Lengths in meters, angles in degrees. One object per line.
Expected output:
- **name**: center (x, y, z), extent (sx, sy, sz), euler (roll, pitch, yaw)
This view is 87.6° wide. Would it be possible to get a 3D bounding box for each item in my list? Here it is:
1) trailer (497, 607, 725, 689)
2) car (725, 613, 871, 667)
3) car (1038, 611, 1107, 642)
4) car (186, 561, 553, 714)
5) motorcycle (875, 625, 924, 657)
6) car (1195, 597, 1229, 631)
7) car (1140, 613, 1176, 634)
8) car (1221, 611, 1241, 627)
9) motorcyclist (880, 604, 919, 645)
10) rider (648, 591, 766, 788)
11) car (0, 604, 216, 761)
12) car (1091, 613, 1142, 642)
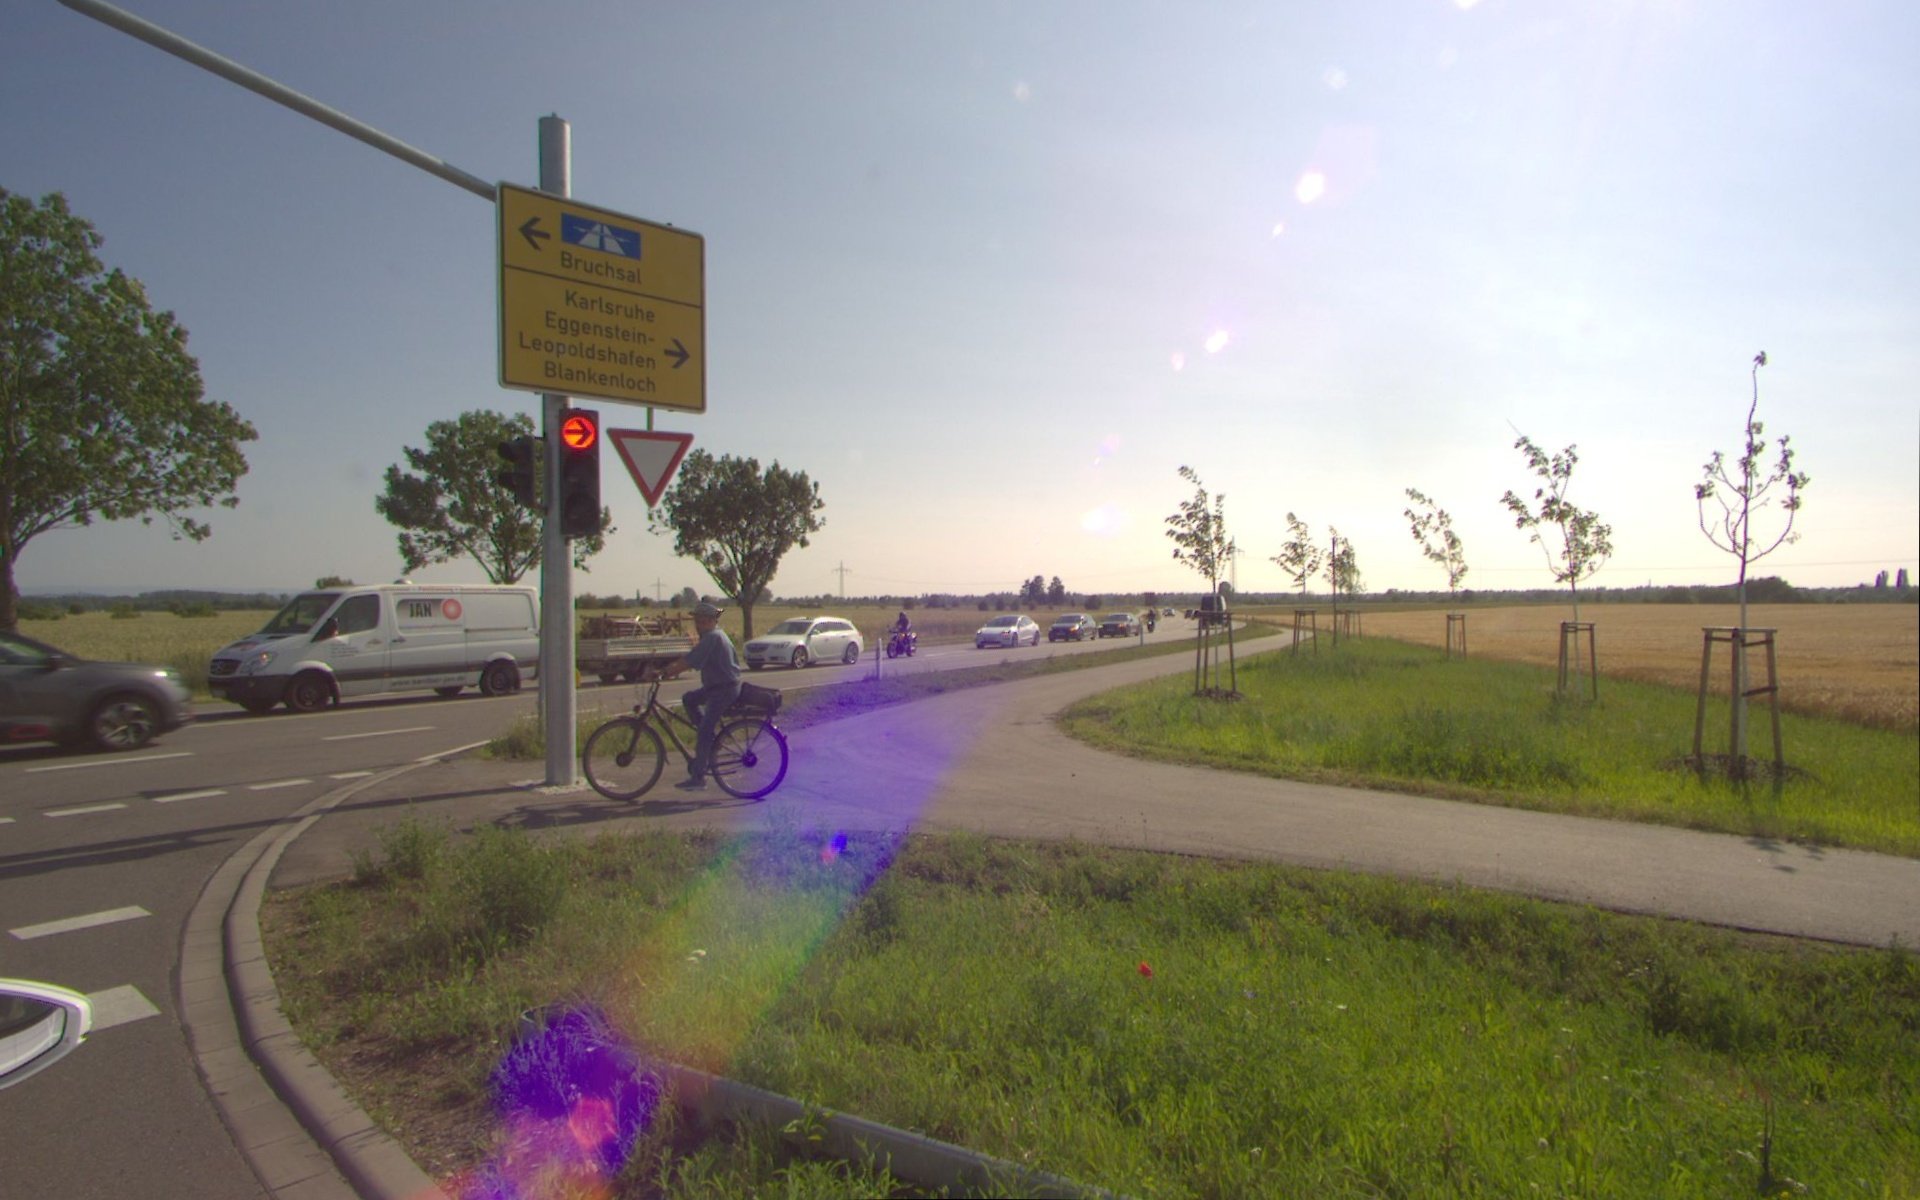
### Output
- **trailer**: center (-8.300, 1.067, 24.409), extent (1.925, 1.776, 5.253), euler (-1, -1, 30)
- **car**: center (-4.897, 1.236, 30.968), extent (1.969, 1.529, 4.868), euler (-2, -3, 27)
- **car**: center (6.191, 1.459, 54.696), extent (1.992, 1.609, 4.864), euler (-2, -3, 30)
- **car**: center (-11.164, 0.668, 19.567), extent (1.971, 2.525, 5.947), euler (-2, -1, 31)
- **motorcycle**: center (-2.195, 1.483, 36.487), extent (0.836, 1.133, 2.140), euler (0, -2, 26)
- **car**: center (20.677, 1.127, 81.893), extent (1.999, 2.656, 5.736), euler (0, 0, 21)
- **car**: center (14.747, 1.773, 74.482), extent (1.678, 1.544, 3.988), euler (-1, -2, 26)
- **car**: center (27.395, 1.880, 101.176), extent (1.698, 1.476, 3.731), euler (0, 1, 19)
- **motorcyclist**: center (-2.206, 0.904, 36.454), extent (1.013, 1.479, 1.067), euler (0, -1, 27)
- **rider**: center (-2.277, 0.760, 8.979), extent (0.973, 1.665, 0.820), euler (0, 1, -17)
- **car**: center (-11.650, 0.945, 11.498), extent (1.970, 1.745, 4.599), euler (-2, -3, 30)
- **car**: center (9.818, 1.756, 62.562), extent (1.967, 1.712, 4.872), euler (-1, -2, 24)
